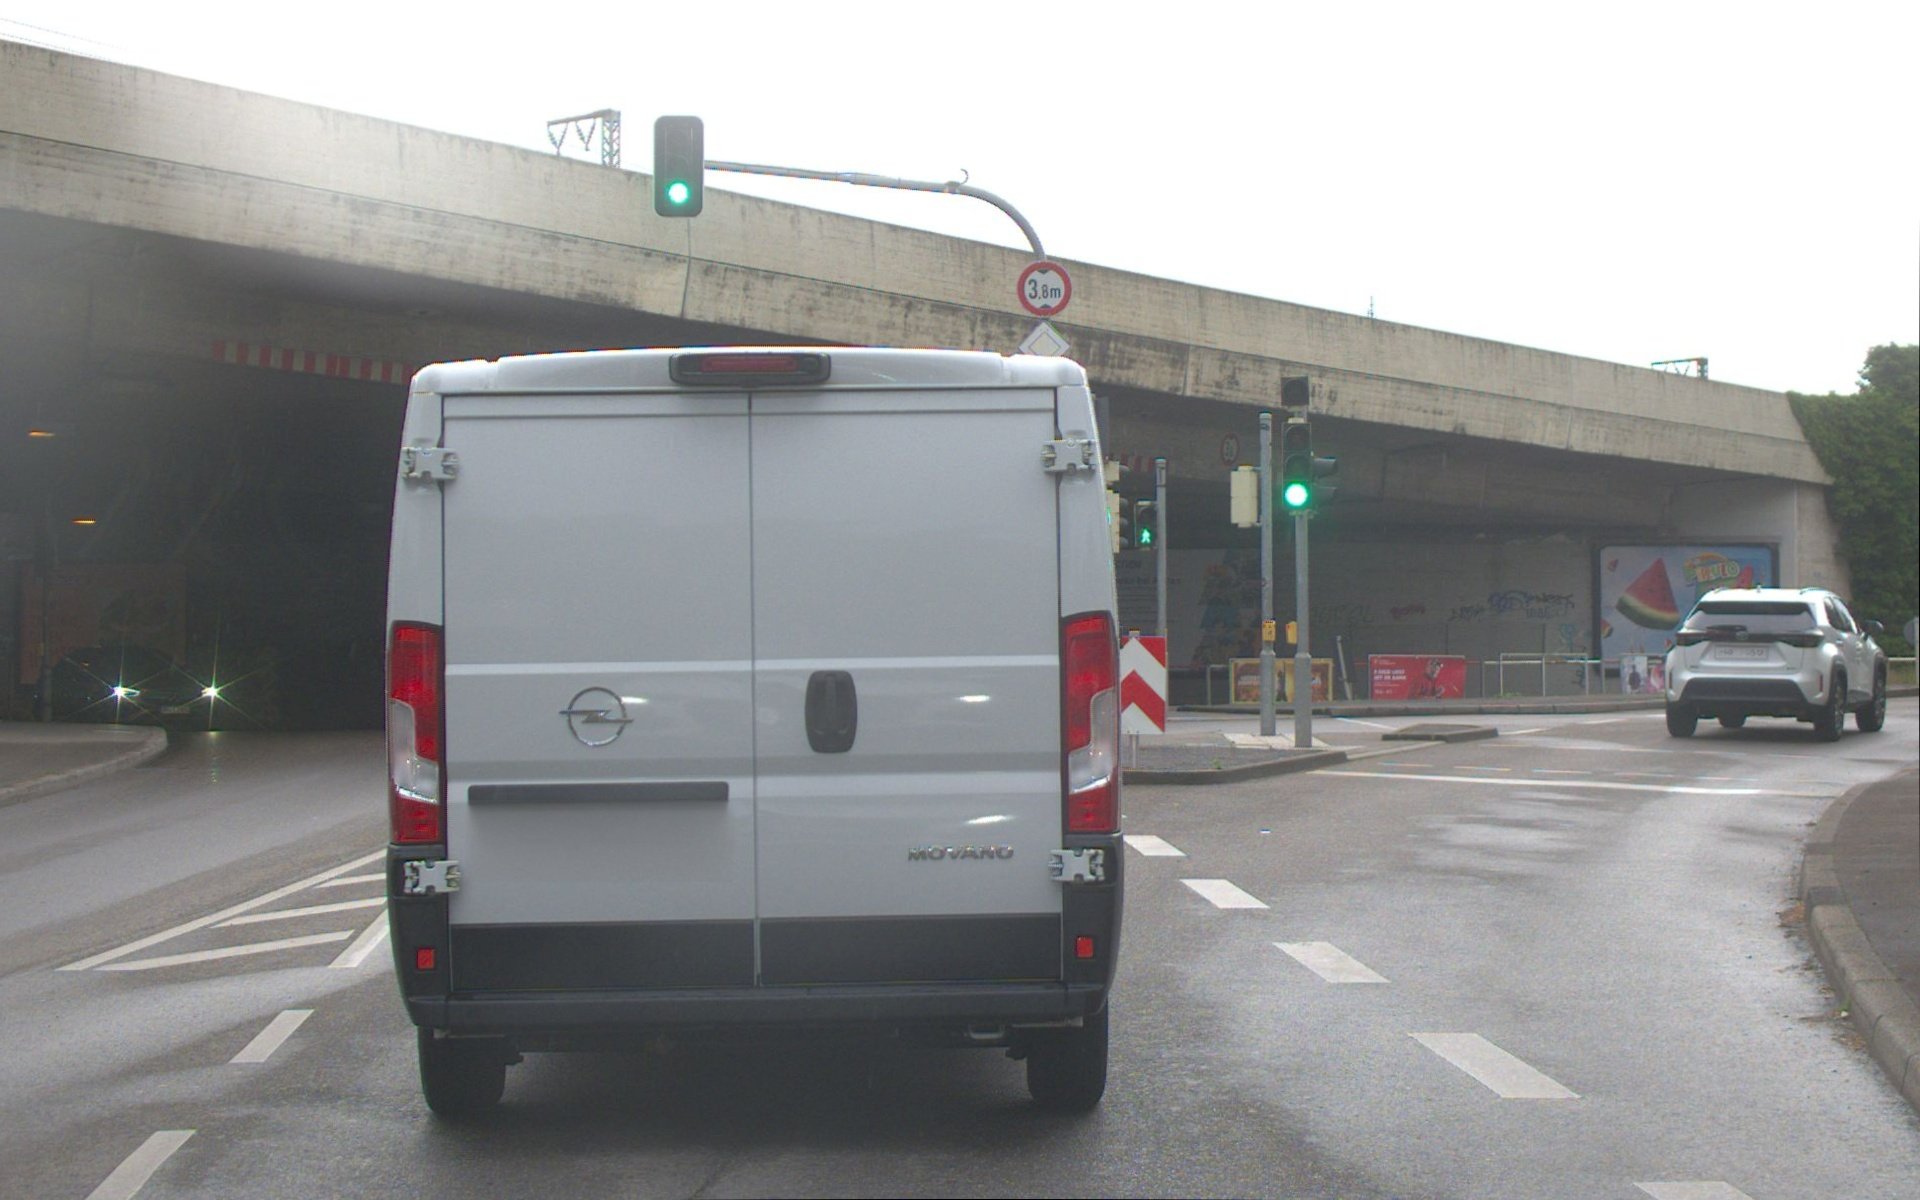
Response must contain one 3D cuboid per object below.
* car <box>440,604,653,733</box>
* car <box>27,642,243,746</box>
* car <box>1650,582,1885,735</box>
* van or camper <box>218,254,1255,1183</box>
[{"bbox_3d":[-5.934,0.936,48.969,1.993,1.744,4.001,0,0,-23],"label":"car"},{"bbox_3d":[-13.336,1.481,55.410,1.993,1.525,4.500,1,0,-33],"label":"car"},{"bbox_3d":[8.627,0.592,36.505,1.877,1.525,3.995,0,0,22],"label":"car"},{"bbox_3d":[-0.695,0.313,11.423,2.698,2.408,4.903,0,0,-3],"label":"van or camper"}]
